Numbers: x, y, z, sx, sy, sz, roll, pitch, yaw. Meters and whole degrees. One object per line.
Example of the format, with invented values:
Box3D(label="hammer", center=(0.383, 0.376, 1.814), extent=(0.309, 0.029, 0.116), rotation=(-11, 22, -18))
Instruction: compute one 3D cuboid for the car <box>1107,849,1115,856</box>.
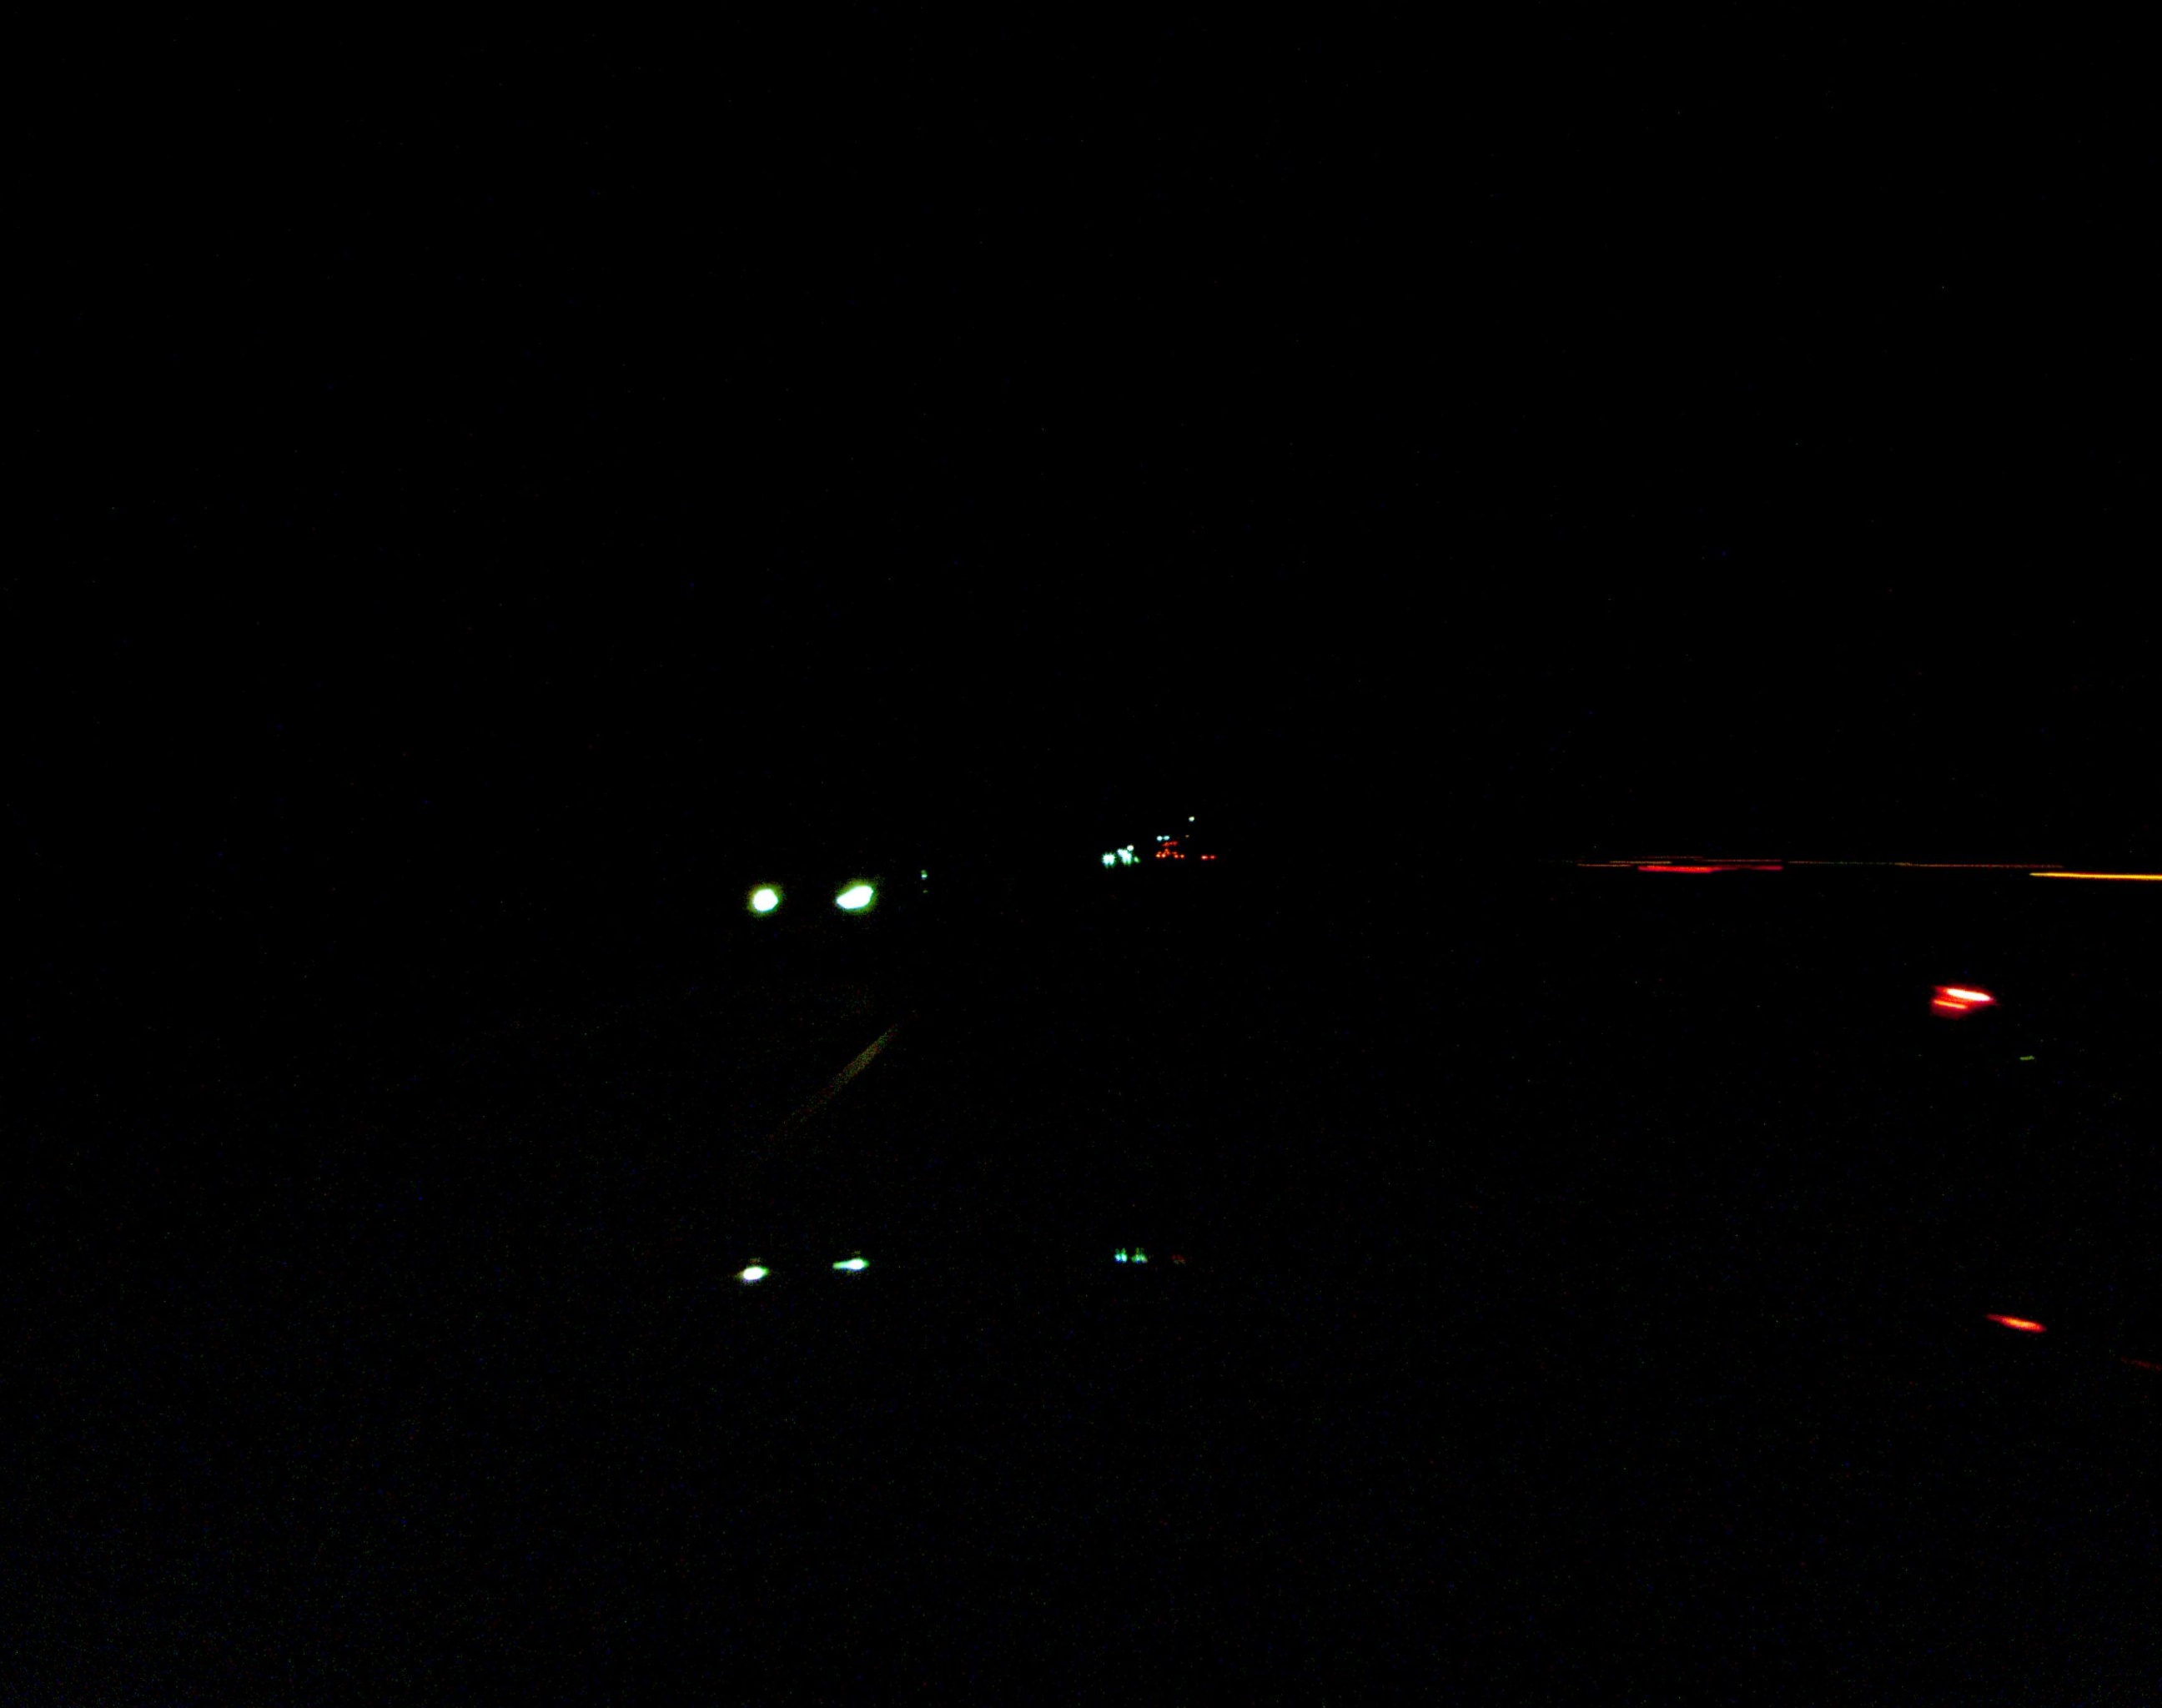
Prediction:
Box3D(label="car", center=(8.125, -0.386, 207.946), extent=(1.999, 1.762, 3.998), rotation=(-2, 2, -1))

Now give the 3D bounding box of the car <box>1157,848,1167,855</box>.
Box3D(label="car", center=(18.808, -0.528, 177.485), extent=(2.015, 1.660, 4.483), rotation=(-2, 0, 3))

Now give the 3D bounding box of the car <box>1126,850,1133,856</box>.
Box3D(label="car", center=(16.457, -0.390, 257.157), extent=(1.999, 1.735, 3.998), rotation=(-2, 2, -1))

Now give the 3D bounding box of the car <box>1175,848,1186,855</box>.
Box3D(label="car", center=(22.352, -0.658, 170.357), extent=(2.015, 1.459, 4.209), rotation=(-2, 0, 3))

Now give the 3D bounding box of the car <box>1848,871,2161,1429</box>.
Box3D(label="car", center=(3.889, 0.803, 0.121), extent=(1.998, 1.509, 5.652), rotation=(-2, -1, 3))

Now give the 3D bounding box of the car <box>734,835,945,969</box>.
Box3D(label="car", center=(-4.186, 0.712, 14.428), extent=(2.121, 1.989, 5.663), rotation=(-2, 1, 0))

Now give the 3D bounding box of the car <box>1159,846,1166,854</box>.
Box3D(label="car", center=(28.377, -1.338, 264.246), extent=(2.106, 2.503, 6.216), rotation=(-2, 0, 2))

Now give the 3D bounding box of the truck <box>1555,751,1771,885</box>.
Box3D(label="truck", center=(19.404, -1.091, 25.885), extent=(2.861, 3.957, 5.859), rotation=(-2, 0, 1))

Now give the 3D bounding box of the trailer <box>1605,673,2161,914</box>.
Box3D(label="trailer", center=(19.314, -1.061, 19.079), extent=(2.861, 3.957, 13.885), rotation=(-2, 0, 1))

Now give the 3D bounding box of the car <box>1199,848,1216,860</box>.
Box3D(label="car", center=(19.317, -0.005, 116.126), extent=(2.015, 1.660, 4.949), rotation=(-2, 0, 3))
